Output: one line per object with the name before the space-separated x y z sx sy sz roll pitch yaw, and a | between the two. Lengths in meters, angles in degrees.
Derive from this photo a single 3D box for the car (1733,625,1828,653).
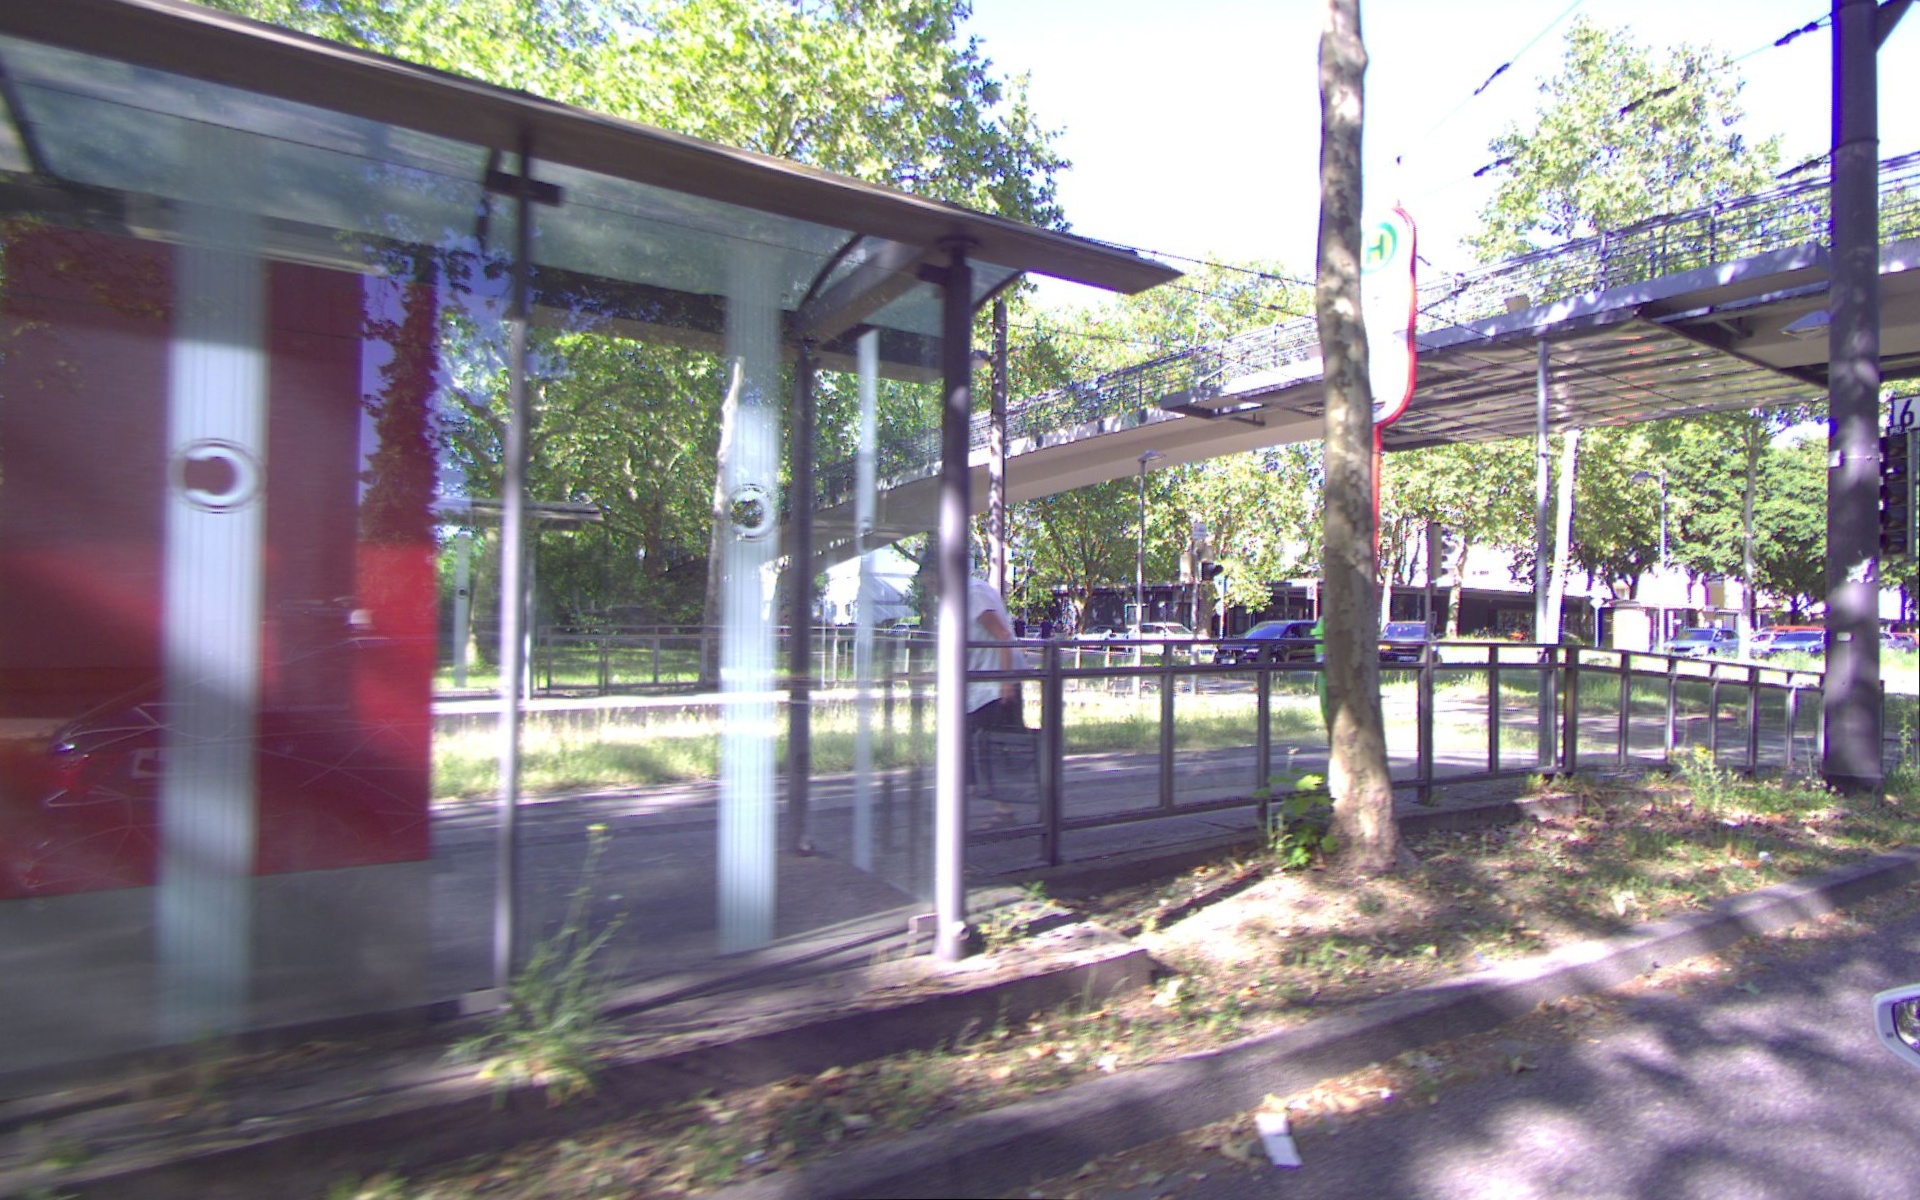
car | 47.637 2.266 58.394 3.919 1.530 1.801 0 -1 13

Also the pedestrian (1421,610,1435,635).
pedestrian | 31.900 1.544 68.524 0.644 1.683 0.644 1 -1 -35

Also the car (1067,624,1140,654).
car | 7.909 2.127 55.532 1.783 1.530 3.960 1 -1 -36

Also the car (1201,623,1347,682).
car | 9.072 1.469 28.910 4.244 1.587 1.783 1 -1 -35

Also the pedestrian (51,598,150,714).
pedestrian | -9.714 0.616 11.384 0.714 1.254 0.774 1 -1 -32

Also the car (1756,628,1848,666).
car | 36.107 1.985 43.043 4.624 1.530 1.784 1 -1 -33

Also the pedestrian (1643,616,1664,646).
pedestrian | 34.656 1.541 50.166 0.642 1.479 0.645 1 -1 -29

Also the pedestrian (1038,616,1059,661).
pedestrian | 3.408 1.487 38.637 0.638 1.728 0.649 1 -1 -9

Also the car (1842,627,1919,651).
car | 62.327 2.622 67.707 3.919 1.530 1.801 0 -1 13

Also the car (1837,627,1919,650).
car | 64.268 2.685 70.319 3.919 1.530 1.801 0 -1 13

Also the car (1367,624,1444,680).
car | 14.053 1.576 31.543 1.768 1.587 4.280 0 -1 30

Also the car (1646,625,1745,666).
car | 30.215 1.850 41.232 4.238 1.601 1.786 1 -1 -30

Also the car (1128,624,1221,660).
car | 9.846 1.908 46.358 1.783 1.530 4.045 1 -1 -36

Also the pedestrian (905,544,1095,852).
pedestrian | 0.192 0.462 5.168 0.674 1.436 0.721 1 0 -31

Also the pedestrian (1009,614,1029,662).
pedestrian | 2.248 1.434 38.413 0.638 1.807 0.649 1 -1 -9

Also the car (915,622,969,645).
car | -1.239 2.258 68.351 1.783 1.530 3.960 1 -1 -36

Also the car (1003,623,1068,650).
car | 4.510 2.175 60.312 1.783 1.530 3.960 1 -1 -36

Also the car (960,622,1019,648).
car | 1.859 2.210 64.138 1.783 1.530 3.960 1 -1 -36
